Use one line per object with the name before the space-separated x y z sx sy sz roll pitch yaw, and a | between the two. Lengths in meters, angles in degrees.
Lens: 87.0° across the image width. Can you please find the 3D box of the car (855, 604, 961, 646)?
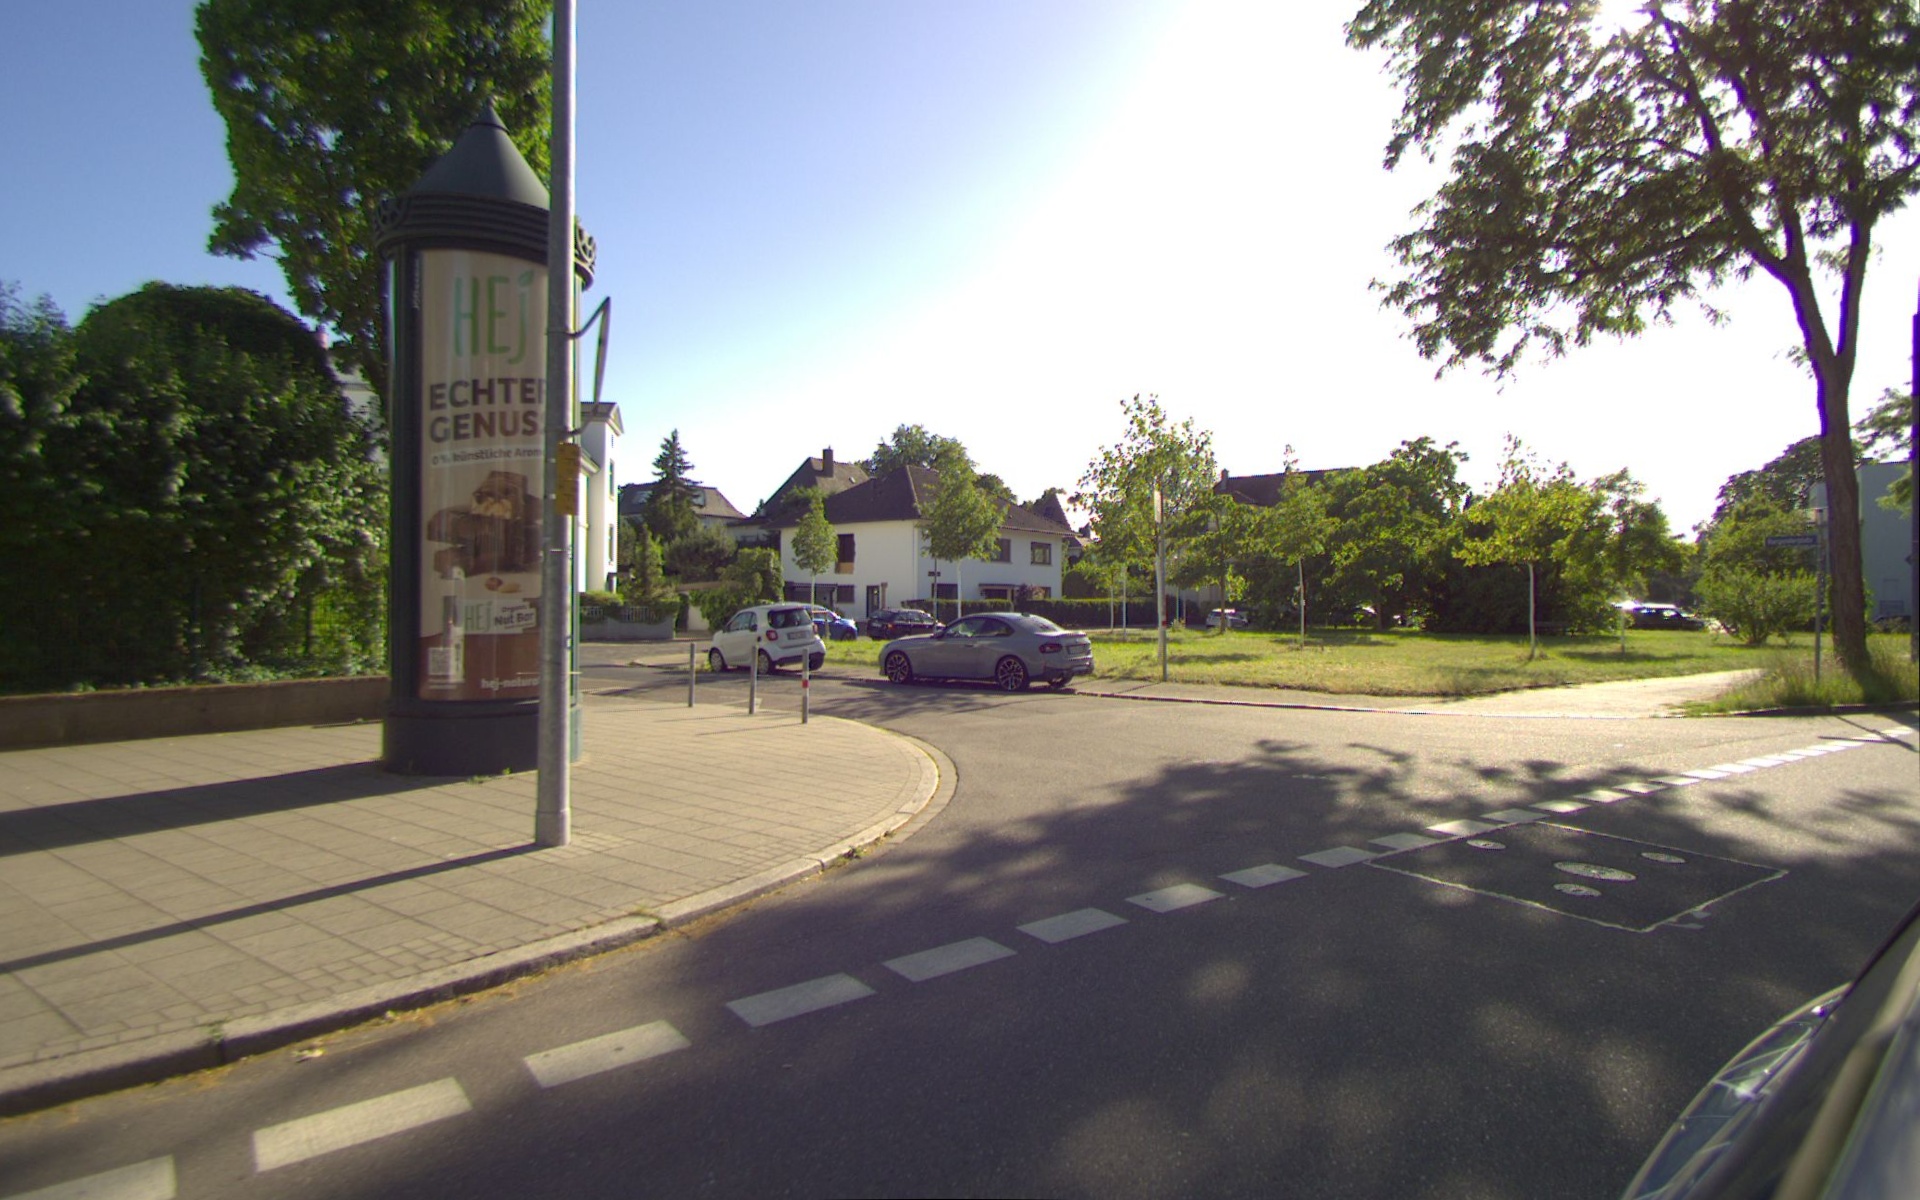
car | -2.120 1.005 42.419 1.987 1.671 4.708 -1 -1 35

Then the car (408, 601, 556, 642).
car | -17.906 0.768 38.121 4.664 1.447 2.003 0 0 -10

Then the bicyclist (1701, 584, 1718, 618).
bicyclist | 45.572 0.046 61.528 0.846 2.039 0.815 0 -2 38

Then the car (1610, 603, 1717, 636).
car | 42.464 1.148 61.156 5.184 1.909 2.071 -1 -1 38

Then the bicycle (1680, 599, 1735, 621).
bicycle | 45.542 0.605 61.705 2.646 1.247 0.790 1 -1 35

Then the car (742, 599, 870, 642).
car | -5.661 0.708 37.791 2.052 1.489 4.694 0 0 36

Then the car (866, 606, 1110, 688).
car | 0.471 0.824 19.649 4.500 1.386 1.942 0 0 38

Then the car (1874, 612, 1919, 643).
car | 51.949 1.486 54.088 4.438 1.508 1.983 1 4 38

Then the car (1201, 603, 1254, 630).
car | 18.648 1.123 70.448 1.992 1.819 3.939 0 0 42

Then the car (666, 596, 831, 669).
car | -5.179 0.717 24.459 4.280 1.529 1.811 0 2 44
